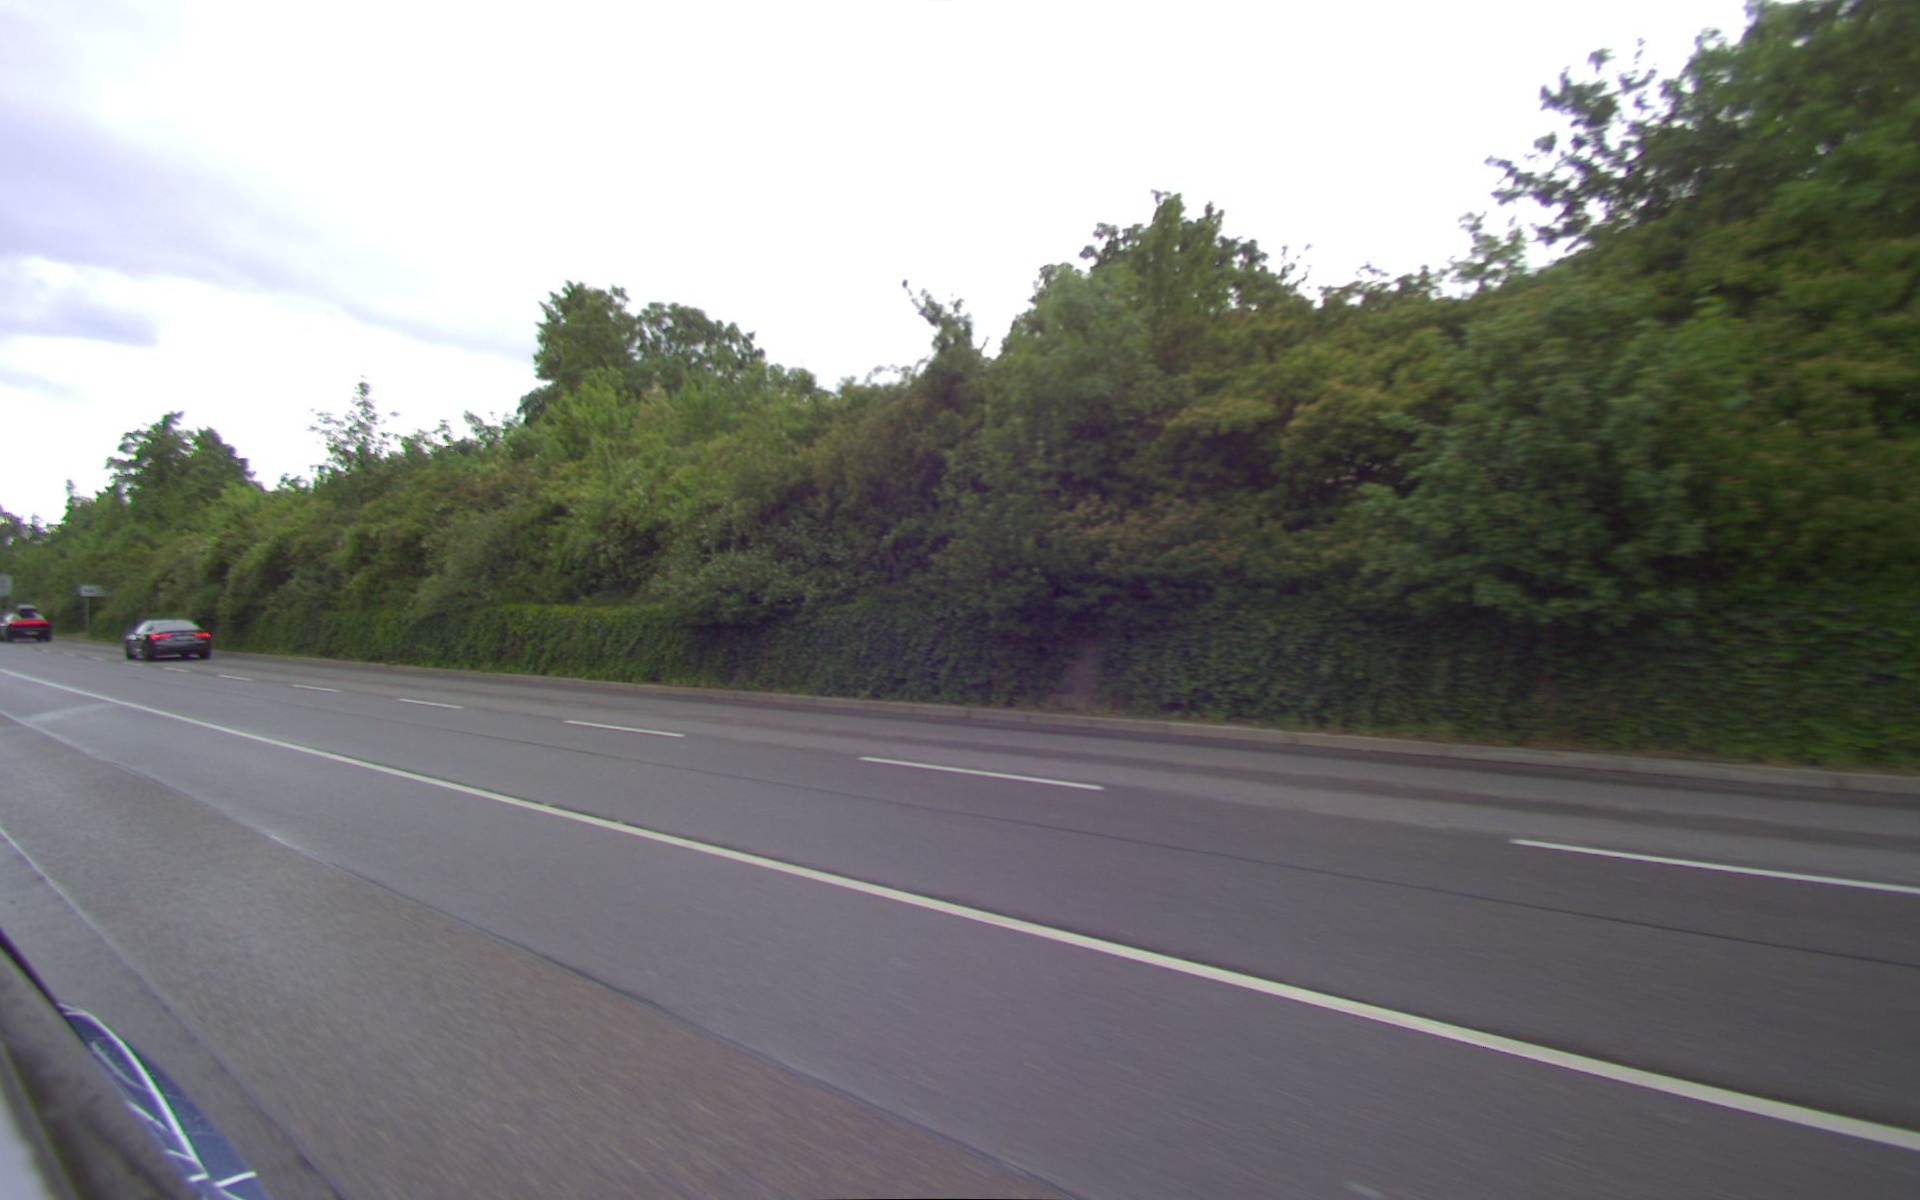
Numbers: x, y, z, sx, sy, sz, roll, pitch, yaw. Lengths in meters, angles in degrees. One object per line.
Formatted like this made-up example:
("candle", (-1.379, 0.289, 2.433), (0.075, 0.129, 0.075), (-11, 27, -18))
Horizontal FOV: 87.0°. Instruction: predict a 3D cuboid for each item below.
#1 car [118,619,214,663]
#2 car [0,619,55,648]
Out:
("car", (-27.796, 1.421, 35.376), (4.835, 1.391, 1.741), (-2, 0, 41))
("car", (-53.322, 1.872, 57.806), (4.628, 1.564, 1.879), (-1, 0, 41))
